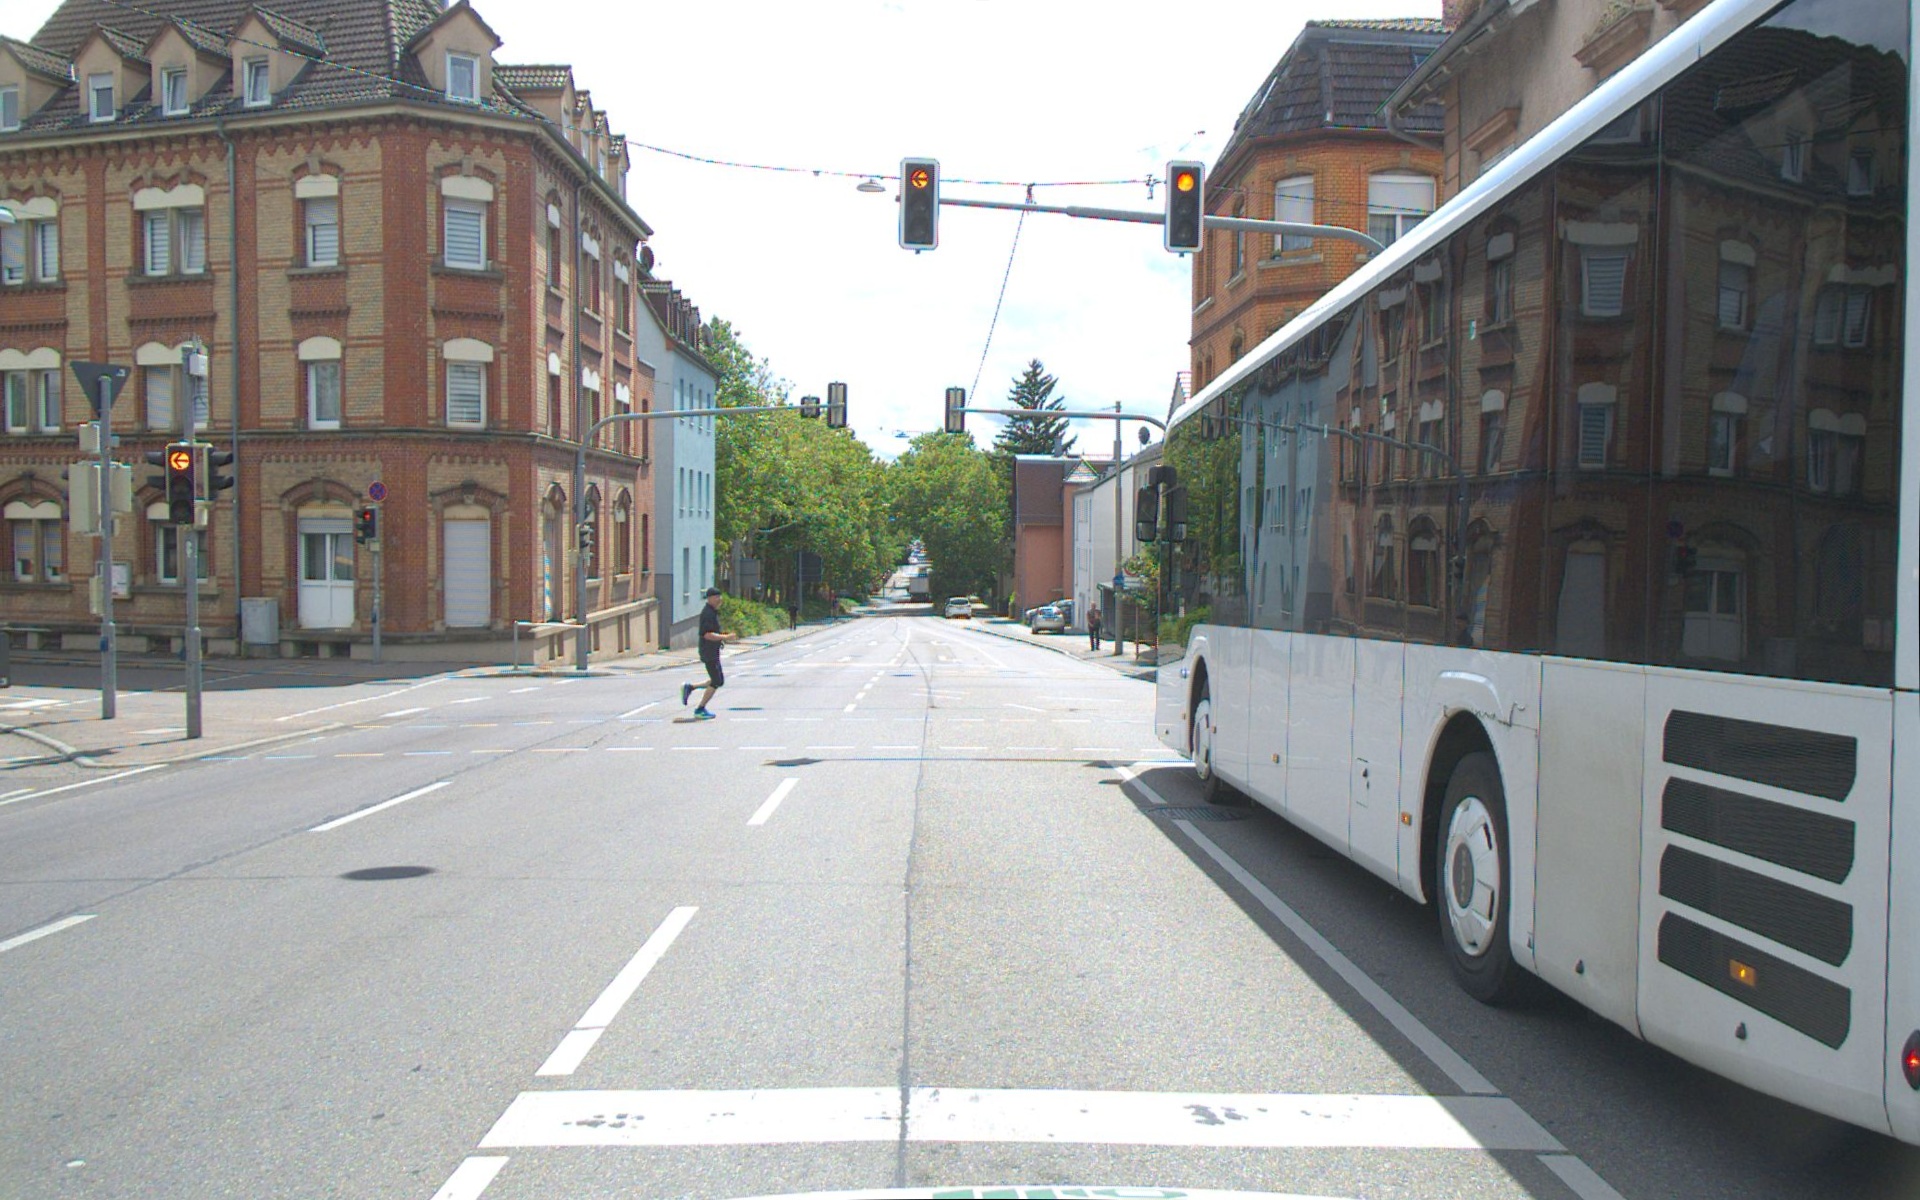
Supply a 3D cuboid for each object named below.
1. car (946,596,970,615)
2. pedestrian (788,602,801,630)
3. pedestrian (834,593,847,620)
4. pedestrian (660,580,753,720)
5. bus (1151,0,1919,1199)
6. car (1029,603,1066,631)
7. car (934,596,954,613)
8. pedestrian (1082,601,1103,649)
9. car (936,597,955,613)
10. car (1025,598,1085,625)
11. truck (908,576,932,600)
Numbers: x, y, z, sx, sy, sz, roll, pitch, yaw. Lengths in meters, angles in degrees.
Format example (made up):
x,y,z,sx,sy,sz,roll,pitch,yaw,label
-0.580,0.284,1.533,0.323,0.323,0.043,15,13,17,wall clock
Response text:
x,y,z,sx,sy,sz,roll,pitch,yaw,label
-0.176,0.448,129.415,1.758,1.434,3.998,1,0,-2,car
-9.466,0.909,94.487,0.714,1.592,0.560,0,0,-2,pedestrian
-9.092,0.522,125.848,0.974,2.049,1.188,0,0,-1,pedestrian
-3.250,0.625,21.285,1.118,1.765,0.758,0,0,-5,pedestrian
3.184,-0.152,9.327,2.618,3.211,12.459,0,0,-1,bus
4.914,0.939,93.126,1.758,1.434,3.999,-1,1,-2,car
-1.404,0.395,145.792,1.757,1.434,4.418,1,0,0,car
4.933,0.938,61.672,0.723,1.781,0.619,-1,0,-1,pedestrian
-1.334,0.507,154.288,1.757,1.434,4.418,1,0,0,car
6.488,0.771,113.251,3.909,1.788,1.998,-1,0,-6,car
-5.392,-1.618,222.347,2.868,3.135,7.881,-1,0,-3,truck
